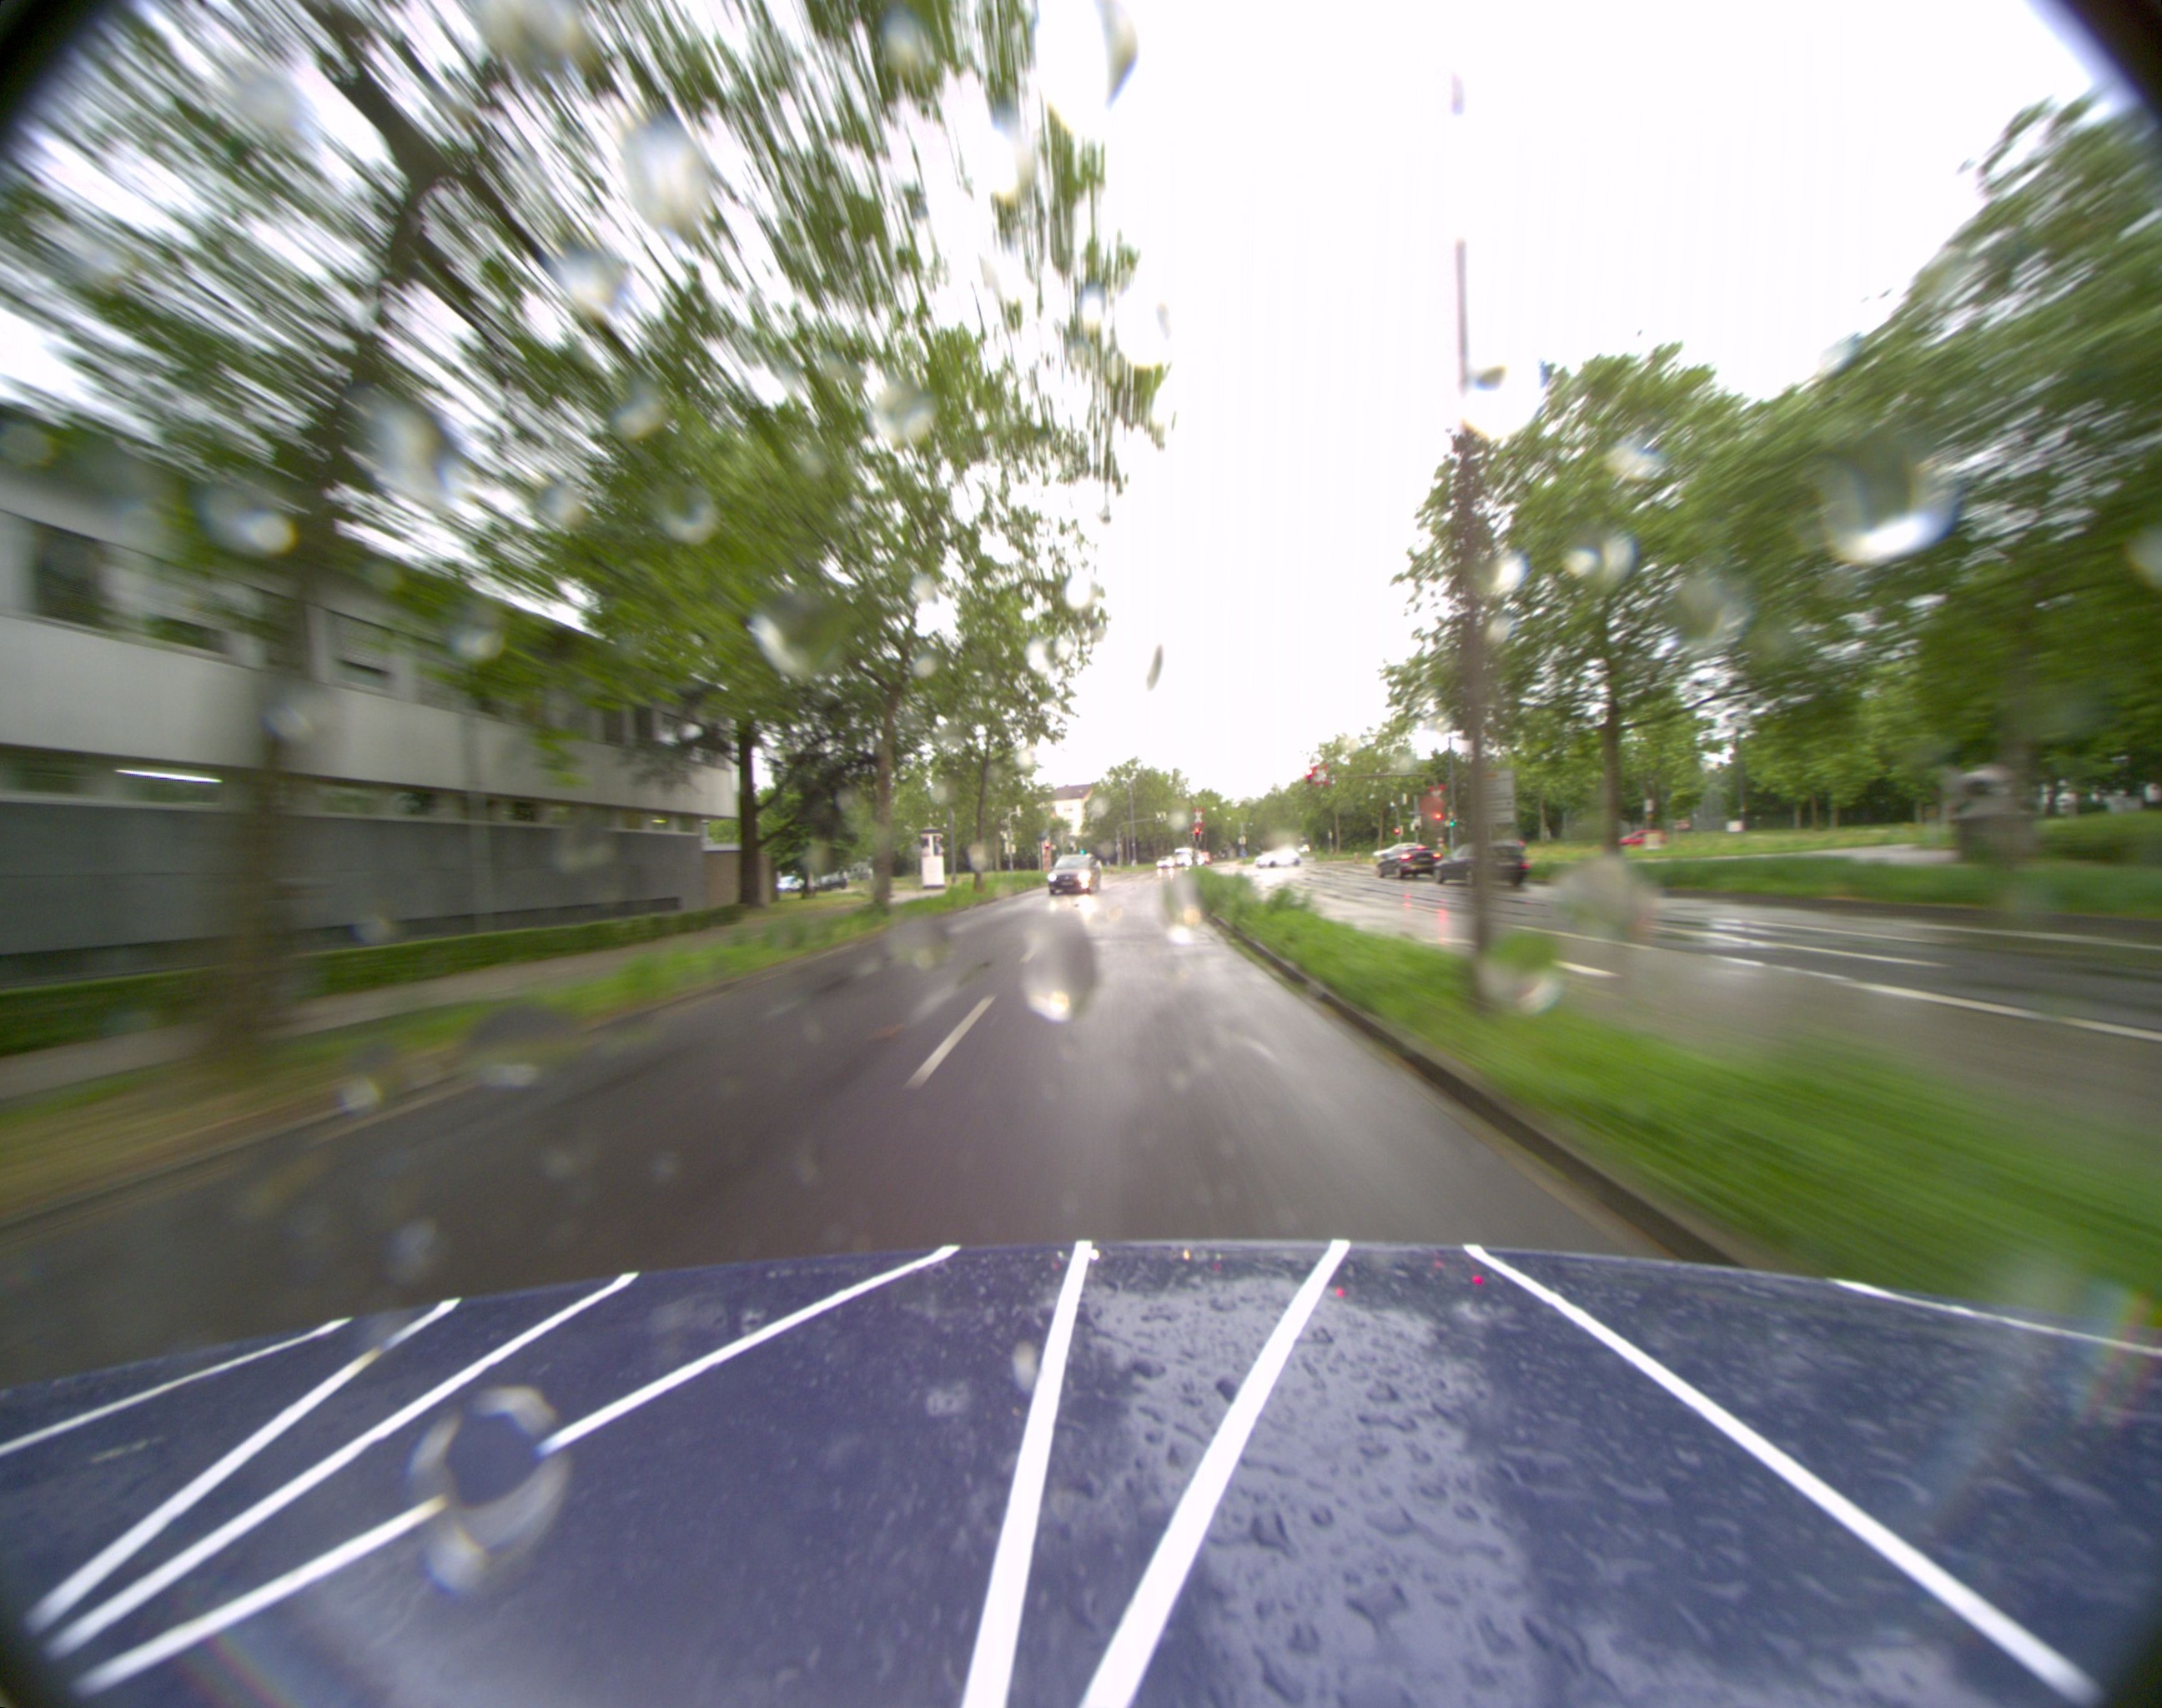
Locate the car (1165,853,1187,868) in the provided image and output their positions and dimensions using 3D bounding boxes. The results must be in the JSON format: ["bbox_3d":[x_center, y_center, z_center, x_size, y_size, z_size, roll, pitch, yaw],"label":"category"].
[{"bbox_3d":[12.359,0.815,98.594,1.996,1.620,4.527,-3,1,18],"label":"car"}]

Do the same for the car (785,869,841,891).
[{"bbox_3d":[-24.602,2.380,69.831,4.527,1.620,1.996,-4,1,-29],"label":"car"}]

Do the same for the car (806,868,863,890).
[{"bbox_3d":[-22.244,2.241,68.637,4.527,1.620,1.996,-4,1,-28],"label":"car"}]

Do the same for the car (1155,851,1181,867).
[{"bbox_3d":[10.426,0.598,90.568,1.996,1.620,4.527,-3,1,19],"label":"car"}]

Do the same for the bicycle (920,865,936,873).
[{"bbox_3d":[-18.325,1.767,90.910,1.860,0.880,0.684,-3,1,31],"label":"bicycle"}]

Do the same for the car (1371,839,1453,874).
[{"bbox_3d":[14.890,0.089,34.449,1.998,1.366,4.332,-4,1,4],"label":"car"}]

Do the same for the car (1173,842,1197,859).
[{"bbox_3d":[14.408,-0.446,105.020,1.996,2.096,5.150,-3,1,22],"label":"car"}]

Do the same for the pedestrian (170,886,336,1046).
[{"bbox_3d":[-9.565,1.259,8.818,0.832,1.685,0.900,-3,1,8],"label":"pedestrian"}]

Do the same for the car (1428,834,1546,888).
[{"bbox_3d":[14.150,0.193,26.802,1.998,1.622,4.332,-4,1,4],"label":"car"}]

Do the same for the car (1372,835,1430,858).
[{"bbox_3d":[27.348,-0.648,65.061,4.494,1.620,2.003,-3,1,22],"label":"car"}]

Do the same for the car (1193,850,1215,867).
[{"bbox_3d":[15.551,0.543,95.793,1.996,1.876,4.527,-3,1,18],"label":"car"}]

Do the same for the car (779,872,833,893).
[{"bbox_3d":[-26.159,2.654,72.232,4.527,1.620,1.996,-4,1,-28],"label":"car"}]

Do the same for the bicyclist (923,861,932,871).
[{"bbox_3d":[-18.314,1.483,90.875,0.742,1.138,0.684,-3,1,31],"label":"bicyclist"}]

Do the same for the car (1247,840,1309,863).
[{"bbox_3d":[16.342,-0.232,63.066,4.525,1.620,1.997,-4,1,-20],"label":"car"}]

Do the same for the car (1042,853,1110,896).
[{"bbox_3d":[-0.123,0.834,34.123,1.997,1.585,5.593,-3,1,10],"label":"car"}]

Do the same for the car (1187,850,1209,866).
[{"bbox_3d":[13.888,0.469,89.971,1.996,1.620,4.526,-3,1,16],"label":"car"}]

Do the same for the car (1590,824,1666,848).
[{"bbox_3d":[43.152,-1.430,60.051,4.512,1.620,2.003,-3,1,22],"label":"car"}]
